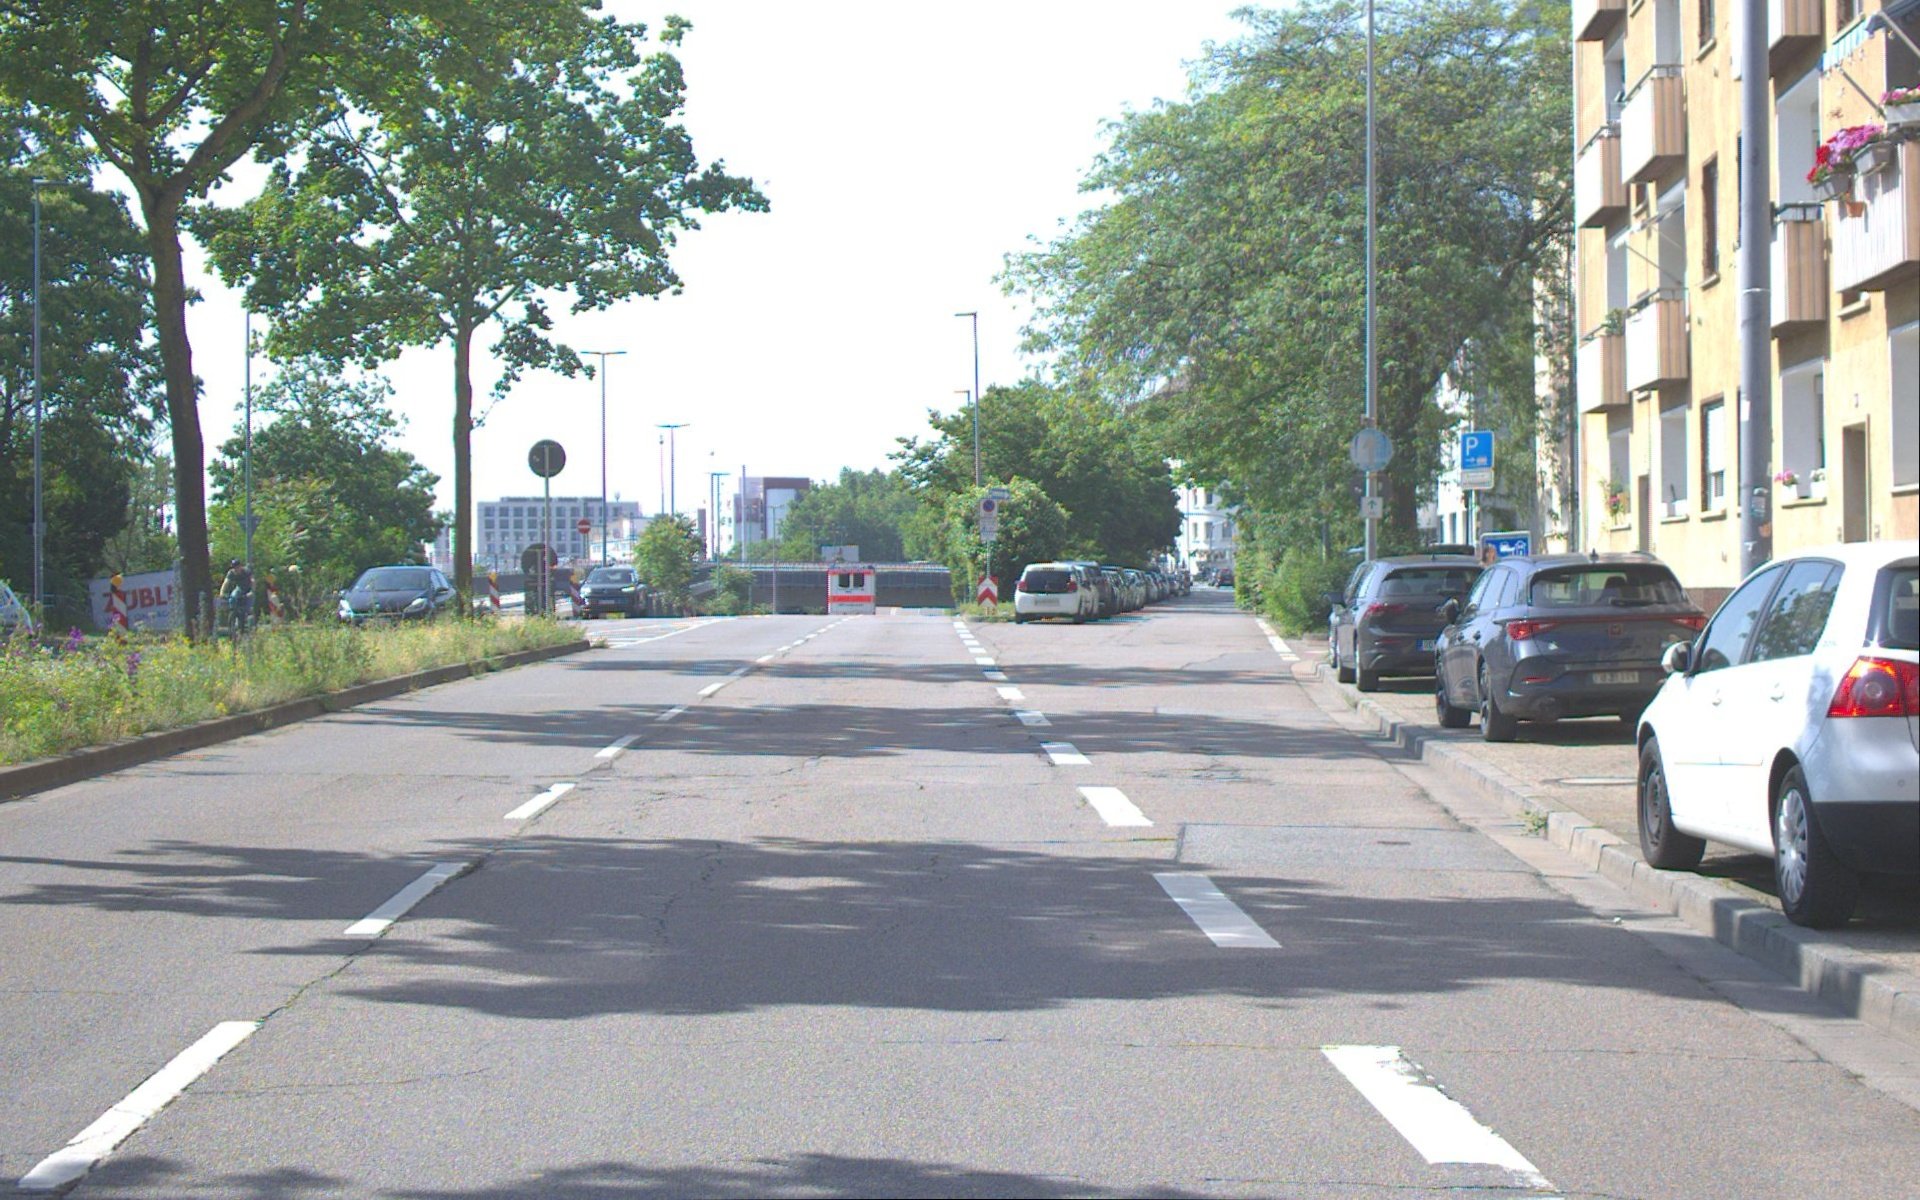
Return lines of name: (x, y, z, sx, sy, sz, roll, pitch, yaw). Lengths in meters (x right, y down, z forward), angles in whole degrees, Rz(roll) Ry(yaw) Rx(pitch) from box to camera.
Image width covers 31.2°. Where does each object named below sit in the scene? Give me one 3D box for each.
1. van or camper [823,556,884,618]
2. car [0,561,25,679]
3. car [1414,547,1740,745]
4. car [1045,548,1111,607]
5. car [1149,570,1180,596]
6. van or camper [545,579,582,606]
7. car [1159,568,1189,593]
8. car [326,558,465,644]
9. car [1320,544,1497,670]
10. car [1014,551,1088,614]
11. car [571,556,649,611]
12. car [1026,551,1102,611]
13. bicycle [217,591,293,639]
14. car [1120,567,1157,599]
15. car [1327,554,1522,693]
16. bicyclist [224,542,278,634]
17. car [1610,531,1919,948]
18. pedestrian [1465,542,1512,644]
van or camper: (-4.891, -0.606, 158.329, 2.296, 2.780, 5.570, 0, 0, 4)
car: (-13.391, 0.272, 43.627, 1.798, 1.525, 4.000, 0, 1, 3)
car: (4.869, 0.310, 27.757, 1.800, 1.433, 4.590, -1, 1, 0)
car: (3.273, -0.636, 95.630, 1.772, 1.574, 4.186, -1, 1, 2)
car: (13.271, -1.113, 223.103, 1.994, 1.651, 3.999, 0, 0, 4)
van or camper: (-20.262, -0.382, 175.966, 1.467, 1.345, 4.631, 0, 1, -1)
car: (14.501, -1.319, 232.833, 1.994, 1.651, 3.999, 0, 0, 4)
car: (-10.198, -0.012, 62.360, 1.763, 1.469, 4.085, -1, 1, 1)
car: (5.664, 0.059, 43.829, 1.703, 1.509, 4.092, -1, 1, 0)
car: (2.276, -0.450, 85.472, 1.620, 1.500, 3.461, -1, 1, 5)
car: (-11.167, -0.540, 109.840, 1.993, 1.728, 4.730, 0, 1, 0)
car: (2.745, -0.519, 90.172, 1.721, 1.500, 4.131, -1, 1, 5)
bicycle: (-14.203, 0.290, 69.332, 0.693, 0.902, 2.341, -1, 1, 10)
car: (8.864, -0.856, 170.294, 1.664, 1.504, 4.007, 2, 1, 5)
car: (5.177, 0.226, 38.750, 1.711, 1.457, 4.256, -1, 1, 1)
bicyclist: (-14.247, -0.256, 69.092, 0.697, 1.825, 1.016, -1, 1, 10)
car: (4.014, 0.465, 14.546, 1.756, 1.500, 4.128, -1, 1, 1)
pedestrian: (8.415, -0.110, 54.754, 0.655, 1.603, 0.824, -1, 1, 5)
